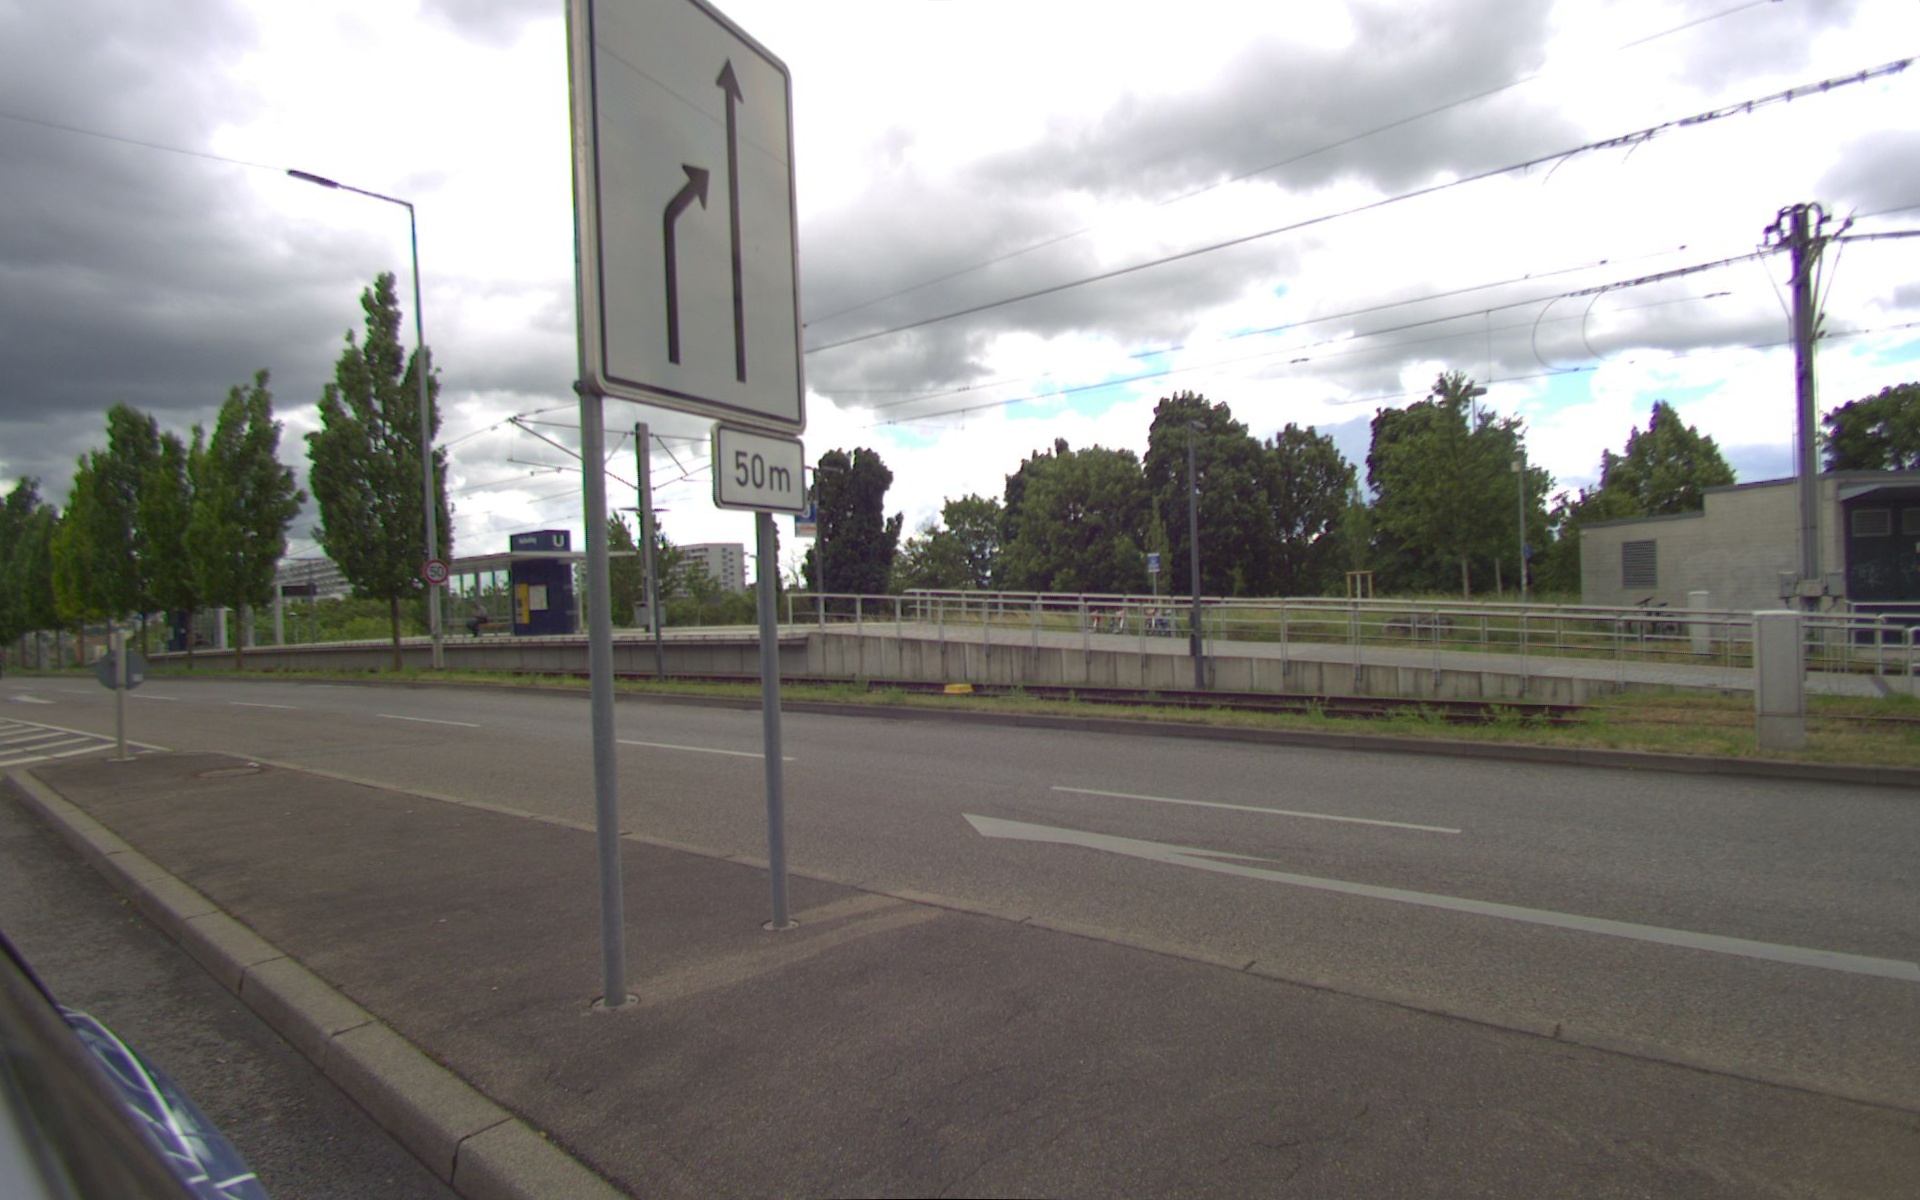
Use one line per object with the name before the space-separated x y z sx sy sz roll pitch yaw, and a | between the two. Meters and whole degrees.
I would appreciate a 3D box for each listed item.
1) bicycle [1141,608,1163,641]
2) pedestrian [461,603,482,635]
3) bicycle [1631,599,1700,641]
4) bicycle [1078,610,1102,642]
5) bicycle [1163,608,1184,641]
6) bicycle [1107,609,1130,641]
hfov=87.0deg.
bicycle | 6.451 0.811 33.995 0.531 1.039 1.804 -1 0 16
pedestrian | -18.282 0.697 37.863 0.447 1.163 0.593 -1 0 41
bicycle | 18.178 0.505 26.107 0.529 1.039 1.813 -1 0 1
bicycle | 4.494 0.877 34.914 0.531 1.039 1.804 -1 0 16
bicycle | 7.119 0.805 33.652 0.531 1.039 1.804 -1 0 16
bicycle | 5.395 0.840 34.449 0.531 1.039 1.804 -1 0 16
